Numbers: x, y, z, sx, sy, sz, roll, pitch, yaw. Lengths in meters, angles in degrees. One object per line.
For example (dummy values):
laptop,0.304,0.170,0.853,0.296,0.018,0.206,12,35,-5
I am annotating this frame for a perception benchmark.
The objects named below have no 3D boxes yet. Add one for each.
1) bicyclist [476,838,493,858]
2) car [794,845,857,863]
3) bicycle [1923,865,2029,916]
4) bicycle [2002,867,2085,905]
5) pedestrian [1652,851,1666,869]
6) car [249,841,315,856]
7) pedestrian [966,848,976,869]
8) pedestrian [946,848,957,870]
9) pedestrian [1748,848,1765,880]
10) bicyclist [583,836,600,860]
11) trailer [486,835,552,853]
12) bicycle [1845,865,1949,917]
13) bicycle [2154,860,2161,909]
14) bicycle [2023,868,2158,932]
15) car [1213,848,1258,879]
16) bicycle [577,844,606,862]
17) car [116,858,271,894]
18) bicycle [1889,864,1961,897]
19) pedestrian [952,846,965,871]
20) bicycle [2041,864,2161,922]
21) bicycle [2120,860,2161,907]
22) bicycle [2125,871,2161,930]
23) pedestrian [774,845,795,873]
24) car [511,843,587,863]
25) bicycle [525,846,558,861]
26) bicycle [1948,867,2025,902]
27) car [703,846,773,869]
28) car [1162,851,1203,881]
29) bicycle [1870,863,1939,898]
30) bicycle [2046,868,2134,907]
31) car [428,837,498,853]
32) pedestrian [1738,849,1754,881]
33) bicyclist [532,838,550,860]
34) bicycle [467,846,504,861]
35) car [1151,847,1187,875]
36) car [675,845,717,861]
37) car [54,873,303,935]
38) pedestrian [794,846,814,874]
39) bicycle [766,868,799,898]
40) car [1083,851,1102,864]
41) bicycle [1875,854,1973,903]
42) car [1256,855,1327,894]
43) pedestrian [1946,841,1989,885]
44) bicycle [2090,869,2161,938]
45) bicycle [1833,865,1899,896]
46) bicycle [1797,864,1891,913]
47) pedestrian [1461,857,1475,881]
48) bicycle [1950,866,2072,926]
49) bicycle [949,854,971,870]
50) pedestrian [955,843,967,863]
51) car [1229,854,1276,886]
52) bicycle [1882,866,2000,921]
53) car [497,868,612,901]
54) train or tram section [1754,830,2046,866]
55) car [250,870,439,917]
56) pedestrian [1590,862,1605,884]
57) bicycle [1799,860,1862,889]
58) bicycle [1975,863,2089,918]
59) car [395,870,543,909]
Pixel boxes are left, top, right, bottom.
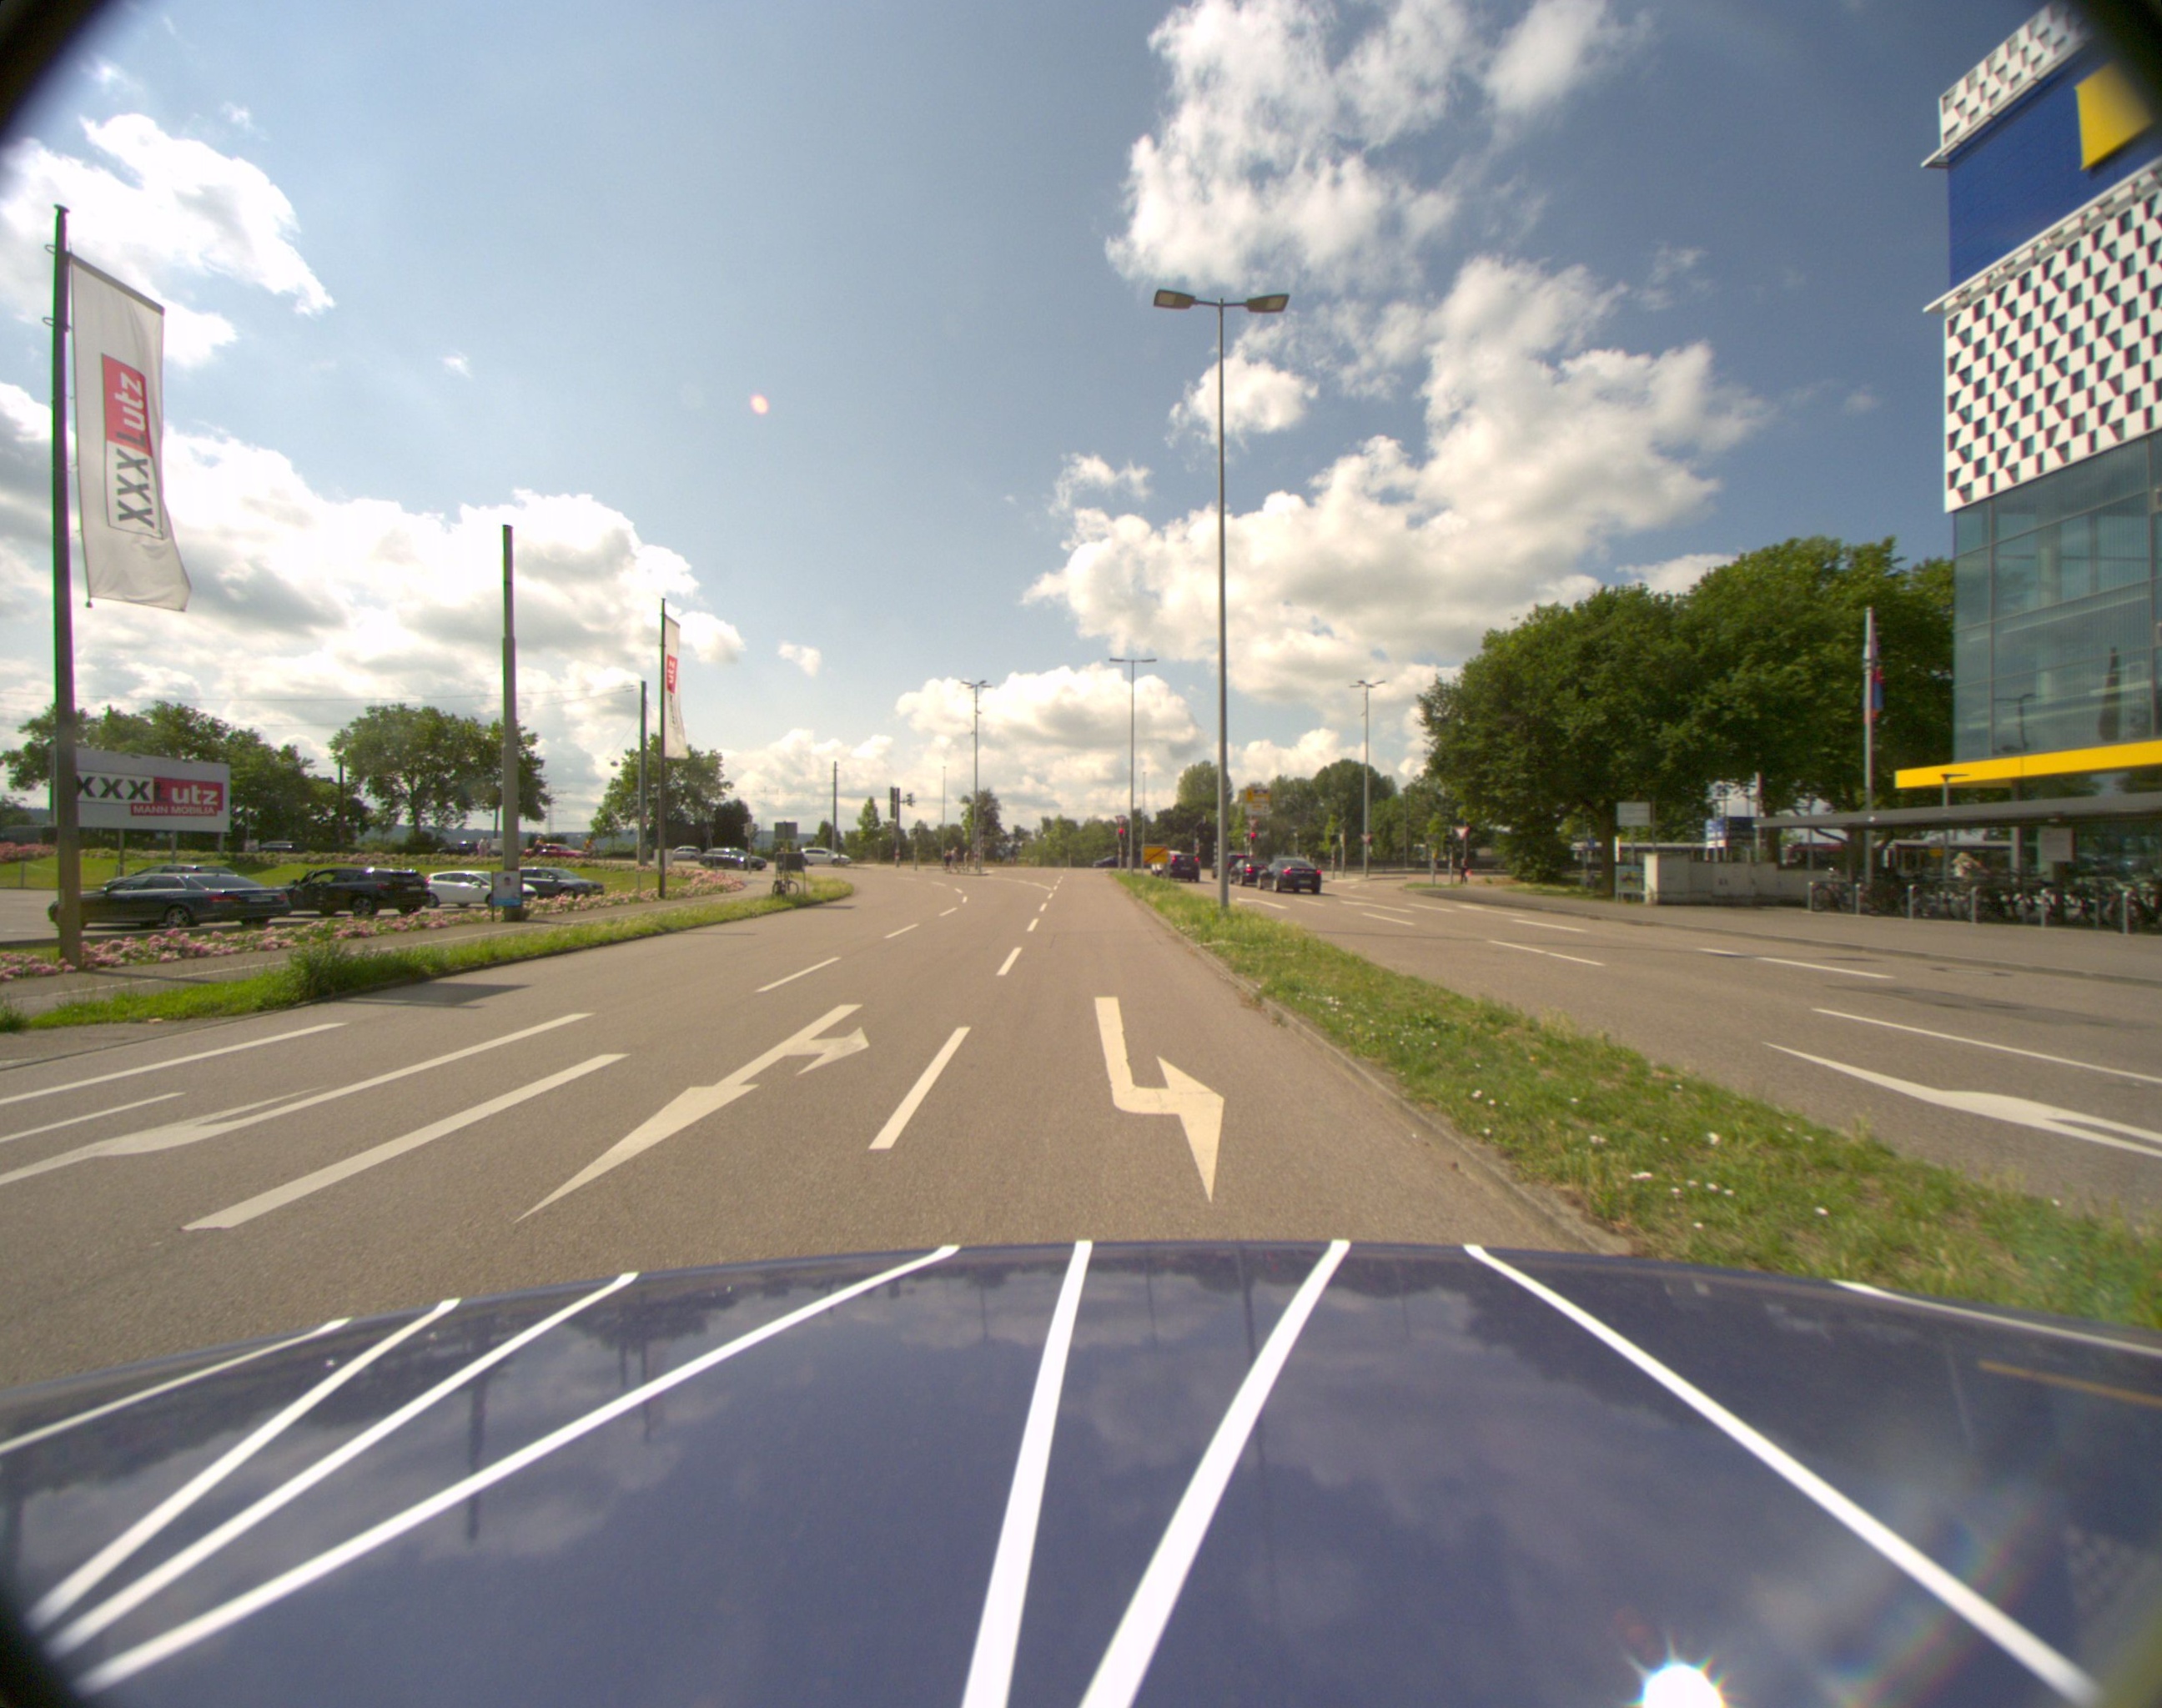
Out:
bicyclist,-39.603,-0.384,50.445,0.687,1.318,0.593,-1,0,1
car,-20.809,-0.001,62.065,4.495,1.405,2.013,0,0,-3
bicycle,22.678,0.913,19.263,1.930,1.265,0.630,-1,0,0
bicycle,28.700,0.943,22.663,1.935,1.083,0.520,-1,0,-4
pedestrian,60.944,0.667,80.092,0.792,1.842,0.761,1,0,-8
car,-84.273,-0.579,80.220,4.779,1.499,1.967,0,-2,-1
pedestrian,-7.957,0.342,54.893,0.556,1.515,0.470,-1,0,9
pedestrian,-9.181,0.364,53.798,0.584,1.515,0.469,0,1,9
pedestrian,36.373,0.542,40.915,0.528,1.693,0.410,-1,0,-9
bicyclist,-32.228,-0.395,50.039,0.696,1.526,0.621,-1,0,5
trailer,-57.921,-1.016,78.365,5.182,1.820,1.823,-1,1,-8
bicycle,20.639,0.920,19.232,1.930,1.265,0.630,-1,0,0
bicycle,28.763,0.780,19.421,1.950,1.236,0.597,0,1,-4
bicycle,20.765,0.932,15.646,1.930,1.265,0.630,-1,0,0
car,9.163,0.526,45.312,1.775,1.606,3.999,2,2,0
bicycle,-32.246,-0.060,50.032,1.503,1.158,0.621,-1,0,5
car,-38.433,0.956,32.987,4.369,1.400,2.050,2,-1,2
bicycle,28.372,0.880,25.555,1.939,1.064,0.529,0,1,-4
pedestrian,-8.562,0.324,52.996,0.688,1.718,0.701,1,2,12
bicycle,22.784,0.858,16.952,1.930,1.265,0.630,-1,0,0
bicycle,28.761,0.778,20.099,1.939,1.202,0.529,0,1,-4
bicycle,22.805,0.933,15.578,1.930,1.176,0.630,-1,0,0
pedestrian,-19.093,0.330,48.952,0.860,1.755,0.867,0,1,27
car,-38.115,-0.090,54.513,4.246,1.352,1.748,1,1,-1
bicycle,-35.629,-0.051,50.226,1.695,0.955,0.666,-1,0,1
bicycle,28.615,0.970,24.017,1.939,1.064,0.529,0,1,-4
car,-23.880,0.216,52.888,4.193,1.474,1.918,1,1,15
car,5.449,0.600,41.088,1.608,1.485,4.131,2,1,0
bicycle,28.317,0.896,26.132,1.961,1.165,0.467,-1,0,-4
bicycle,28.727,0.952,21.638,1.939,1.064,0.529,0,1,-4
car,-63.113,-0.892,77.638,5.252,1.565,1.998,0,1,-8
pedestrian,35.303,0.596,40.337,0.410,1.693,0.516,-1,0,-6
bicyclist,-35.677,-0.339,50.223,0.742,1.466,0.651,-1,0,1
bicycle,-39.508,-0.051,50.444,1.986,0.955,0.597,-1,0,1
car,5.492,0.386,47.889,1.712,1.610,4.376,2,1,-1
car,-40.323,-0.144,79.687,3.491,1.448,1.699,-3,3,-8
car,-23.493,1.275,19.897,4.369,1.468,1.857,-1,1,2
pedestrian,-17.452,0.374,47.880,0.820,1.792,0.761,0,1,27
bicycle,-10.458,1.009,26.679,0.518,0.947,1.543,-1,1,0
car,1.259,0.363,81.566,1.796,1.311,4.163,-1,0,3
bicycle,22.817,0.659,20.577,1.930,1.265,0.630,-1,0,0
car,8.792,0.813,32.117,1.668,1.413,4.518,2,1,0
pedestrian,34.716,0.327,29.761,0.898,1.697,0.710,0,1,-5
bicycle,20.731,0.936,14.563,1.930,1.265,0.630,-1,0,0
bicycle,28.354,0.948,27.459,1.939,1.064,0.529,0,1,-4
bicycle,20.751,0.928,20.681,1.930,1.265,0.630,-1,0,0
pedestrian,24.074,0.944,47.257,0.439,1.482,0.619,-1,1,-16
bicycle,20.686,0.923,16.922,1.930,1.265,0.630,-1,0,0
bicycle,-9.417,0.616,58.972,0.506,1.040,1.700,1,-5,40
pedestrian,-9.340,-0.072,59.049,0.505,1.526,0.687,1,-4,38
car,8.520,0.758,38.091,1.415,1.383,4.095,2,1,0
bicycle,20.586,0.945,18.212,2.094,1.265,0.630,-1,0,0
car,-23.964,1.369,34.668,3.997,1.410,1.715,0,1,-1
train or tram section,82.527,-0.582,76.881,25.113,3.014,4.530,1,0,-1
car,-23.999,1.273,24.874,4.369,1.408,1.857,-1,0,1
pedestrian,30.278,1.106,44.541,0.491,1.316,0.538,0,1,1
bicycle,28.403,0.754,28.808,1.939,1.064,0.529,0,1,-4
bicycle,22.848,0.865,18.275,1.930,1.265,0.630,-1,0,0
car,-24.108,1.373,30.025,4.369,1.431,1.796,0,0,1
